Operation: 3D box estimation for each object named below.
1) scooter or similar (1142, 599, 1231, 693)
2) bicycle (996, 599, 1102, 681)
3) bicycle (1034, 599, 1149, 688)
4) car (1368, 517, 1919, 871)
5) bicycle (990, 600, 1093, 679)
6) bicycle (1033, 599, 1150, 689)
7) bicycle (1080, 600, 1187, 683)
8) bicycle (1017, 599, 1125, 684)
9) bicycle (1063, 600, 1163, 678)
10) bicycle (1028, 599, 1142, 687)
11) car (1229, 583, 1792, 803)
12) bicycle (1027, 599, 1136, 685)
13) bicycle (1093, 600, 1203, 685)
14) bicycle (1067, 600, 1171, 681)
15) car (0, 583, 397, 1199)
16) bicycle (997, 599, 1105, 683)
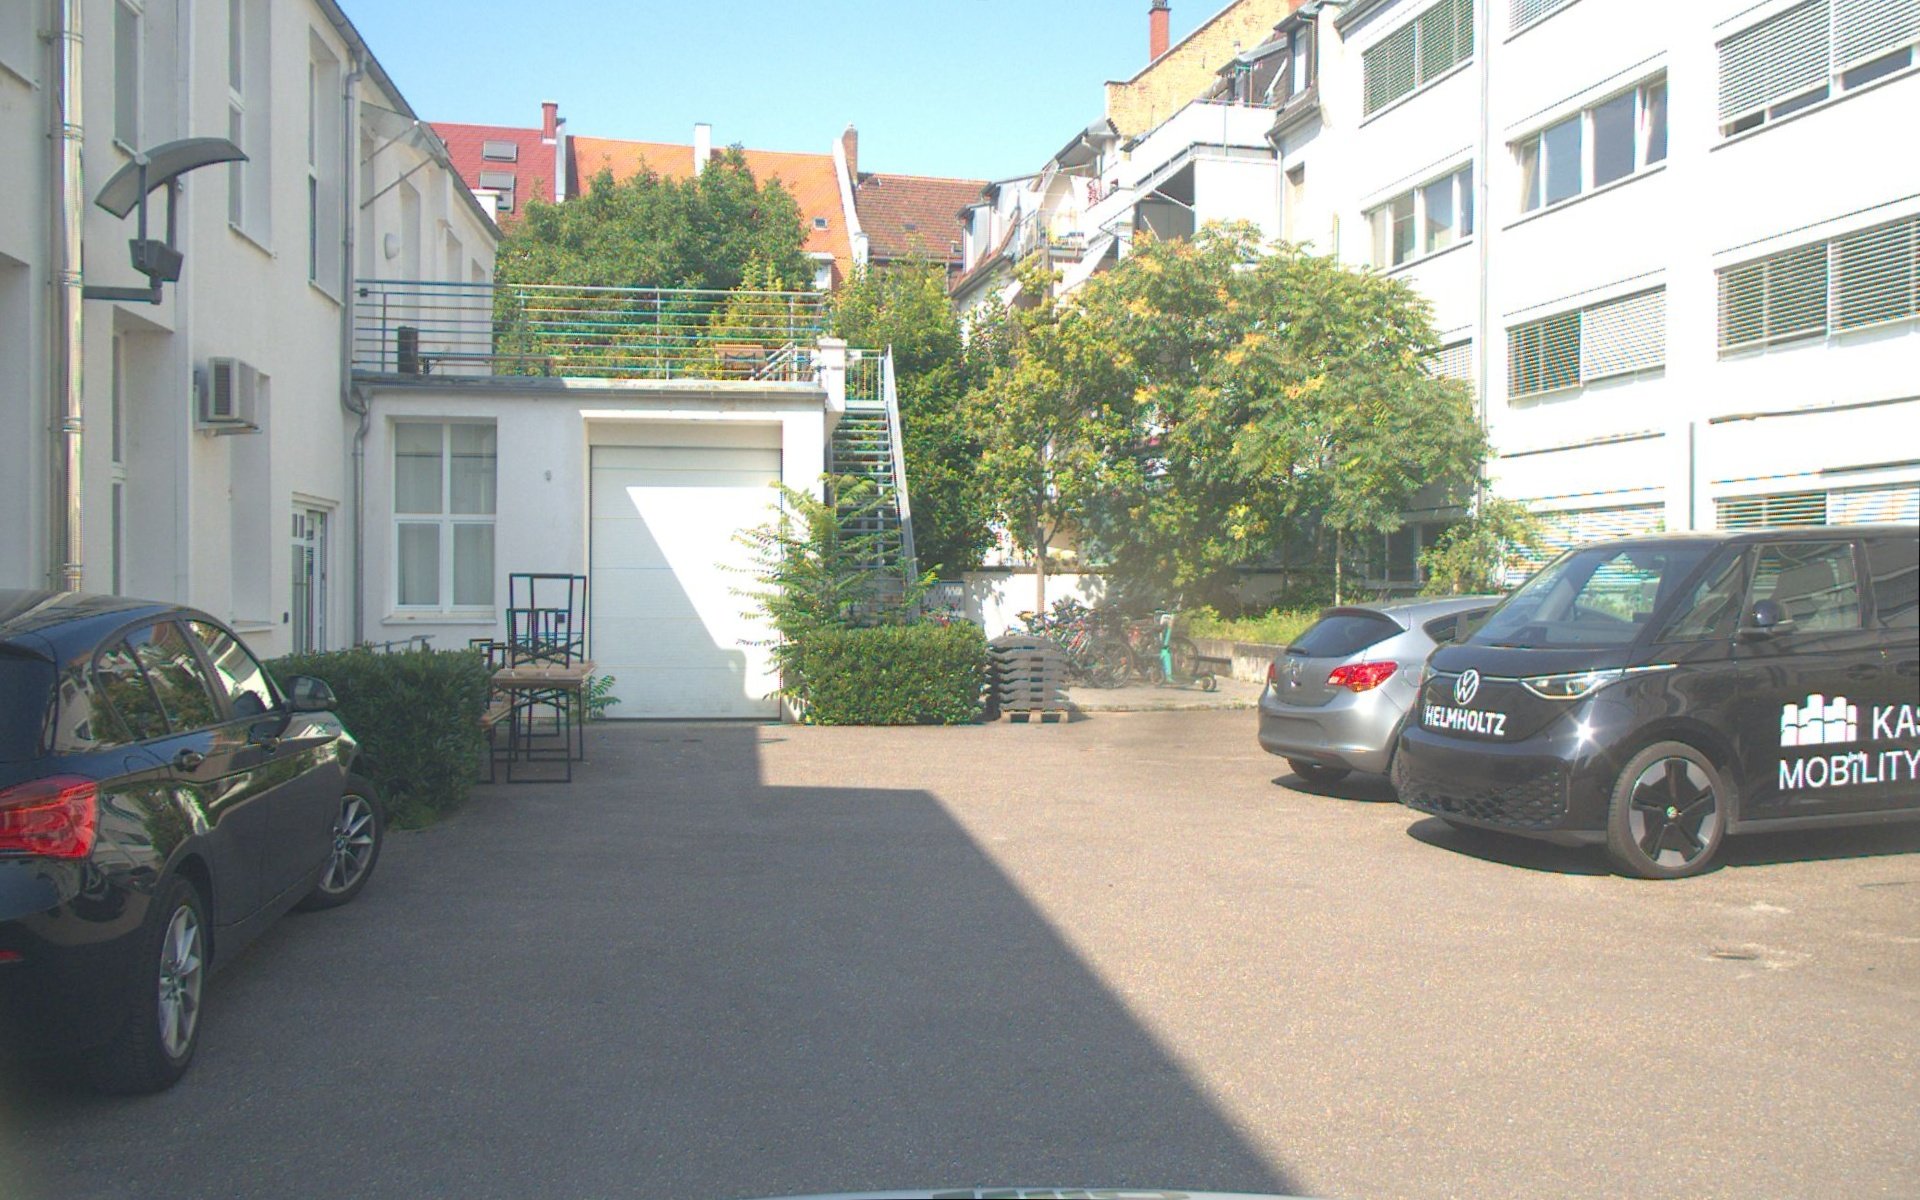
[{"bbox_3d":[3.177,0.629,23.262,0.376,1.283,1.330,-1,0,-39],"label":"scooter or similar"},{"bbox_3d":[1.398,0.622,26.029,1.595,1.235,0.422,-1,0,-13],"label":"bicycle"},{"bbox_3d":[1.874,0.617,23.655,1.592,1.235,0.326,-1,0,-6],"label":"bicycle"},{"bbox_3d":[4.928,0.476,10.070,4.428,1.826,1.874,0,-1,-17],"label":"car"},{"bbox_3d":[1.318,0.624,26.625,1.595,1.235,0.423,-1,0,-13],"label":"bicycle"},{"bbox_3d":[1.850,0.615,23.328,1.592,1.235,0.326,-1,0,-6],"label":"bicycle"},{"bbox_3d":[2.646,0.628,25.277,1.589,1.235,0.424,-1,0,5],"label":"bicycle"},{"bbox_3d":[1.665,0.619,24.744,1.589,1.235,0.327,-1,0,5],"label":"bicycle"},{"bbox_3d":[2.486,0.632,26.870,1.589,1.235,0.424,-1,0,5],"label":"bicycle"},{"bbox_3d":[1.809,0.617,23.942,1.592,1.235,0.326,-1,0,-6],"label":"bicycle"},{"bbox_3d":[4.239,0.644,12.882,3.869,1.508,1.766,0,-1,-17],"label":"car"},{"bbox_3d":[1.787,0.619,24.394,1.589,1.235,0.327,-1,0,2],"label":"bicycle"},{"bbox_3d":[2.776,0.625,24.428,1.588,1.235,0.327,-1,0,7],"label":"bicycle"},{"bbox_3d":[2.477,0.629,25.835,1.589,1.235,0.424,-1,0,5],"label":"bicycle"},{"bbox_3d":[-3.200,0.703,5.788,1.657,1.484,3.915,0,0,-9],"label":"car"},{"bbox_3d":[1.397,0.620,25.389,1.593,1.235,0.423,-1,0,-9],"label":"bicycle"}]
